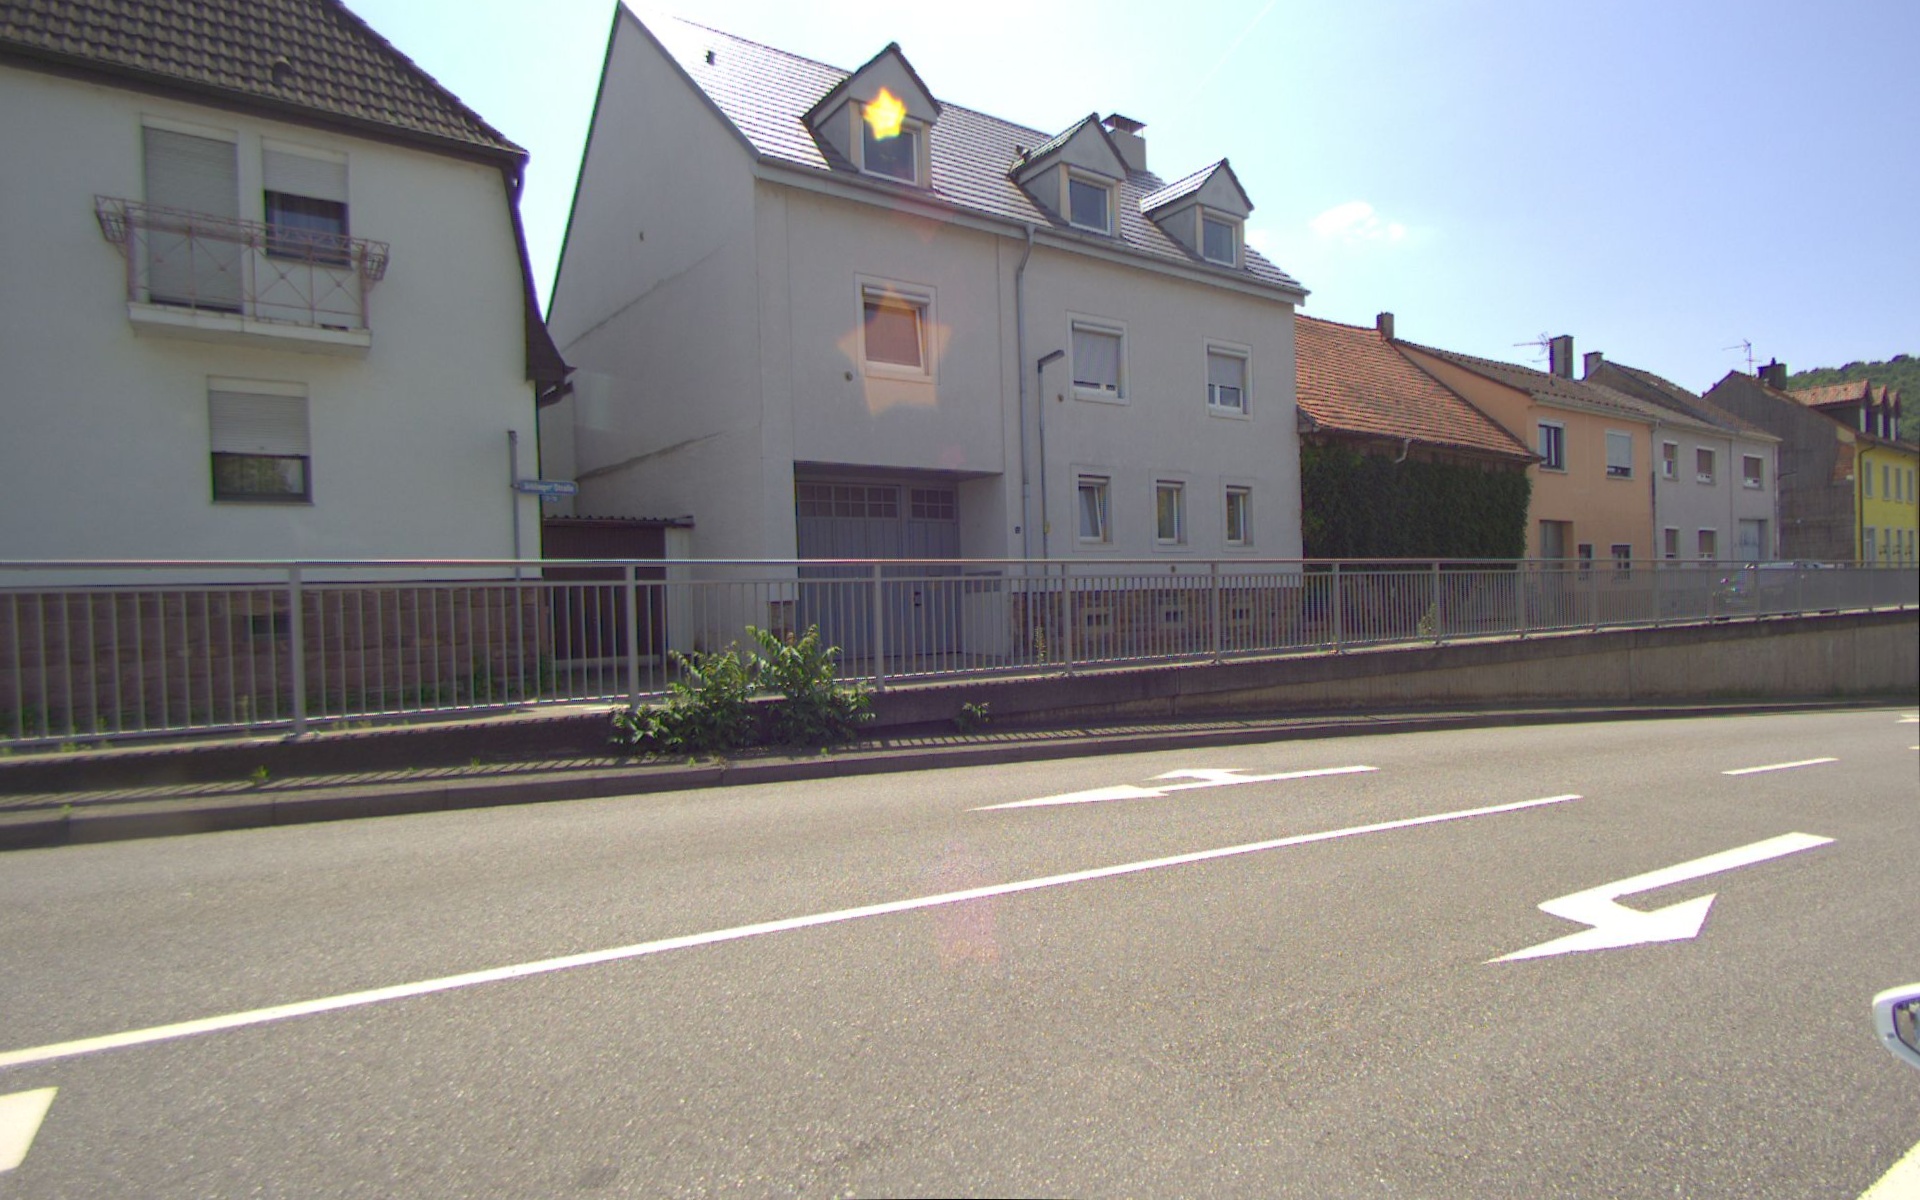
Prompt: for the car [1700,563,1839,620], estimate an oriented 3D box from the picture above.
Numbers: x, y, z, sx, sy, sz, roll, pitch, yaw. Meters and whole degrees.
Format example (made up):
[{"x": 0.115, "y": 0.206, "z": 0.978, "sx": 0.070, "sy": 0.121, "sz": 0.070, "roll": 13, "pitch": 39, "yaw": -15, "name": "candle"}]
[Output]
[{"x": 21.767, "y": -0.216, "z": 26.970, "sx": 4.348, "sy": 1.424, "sz": 1.774, "roll": 0, "pitch": 0, "yaw": -35, "name": "car"}]
